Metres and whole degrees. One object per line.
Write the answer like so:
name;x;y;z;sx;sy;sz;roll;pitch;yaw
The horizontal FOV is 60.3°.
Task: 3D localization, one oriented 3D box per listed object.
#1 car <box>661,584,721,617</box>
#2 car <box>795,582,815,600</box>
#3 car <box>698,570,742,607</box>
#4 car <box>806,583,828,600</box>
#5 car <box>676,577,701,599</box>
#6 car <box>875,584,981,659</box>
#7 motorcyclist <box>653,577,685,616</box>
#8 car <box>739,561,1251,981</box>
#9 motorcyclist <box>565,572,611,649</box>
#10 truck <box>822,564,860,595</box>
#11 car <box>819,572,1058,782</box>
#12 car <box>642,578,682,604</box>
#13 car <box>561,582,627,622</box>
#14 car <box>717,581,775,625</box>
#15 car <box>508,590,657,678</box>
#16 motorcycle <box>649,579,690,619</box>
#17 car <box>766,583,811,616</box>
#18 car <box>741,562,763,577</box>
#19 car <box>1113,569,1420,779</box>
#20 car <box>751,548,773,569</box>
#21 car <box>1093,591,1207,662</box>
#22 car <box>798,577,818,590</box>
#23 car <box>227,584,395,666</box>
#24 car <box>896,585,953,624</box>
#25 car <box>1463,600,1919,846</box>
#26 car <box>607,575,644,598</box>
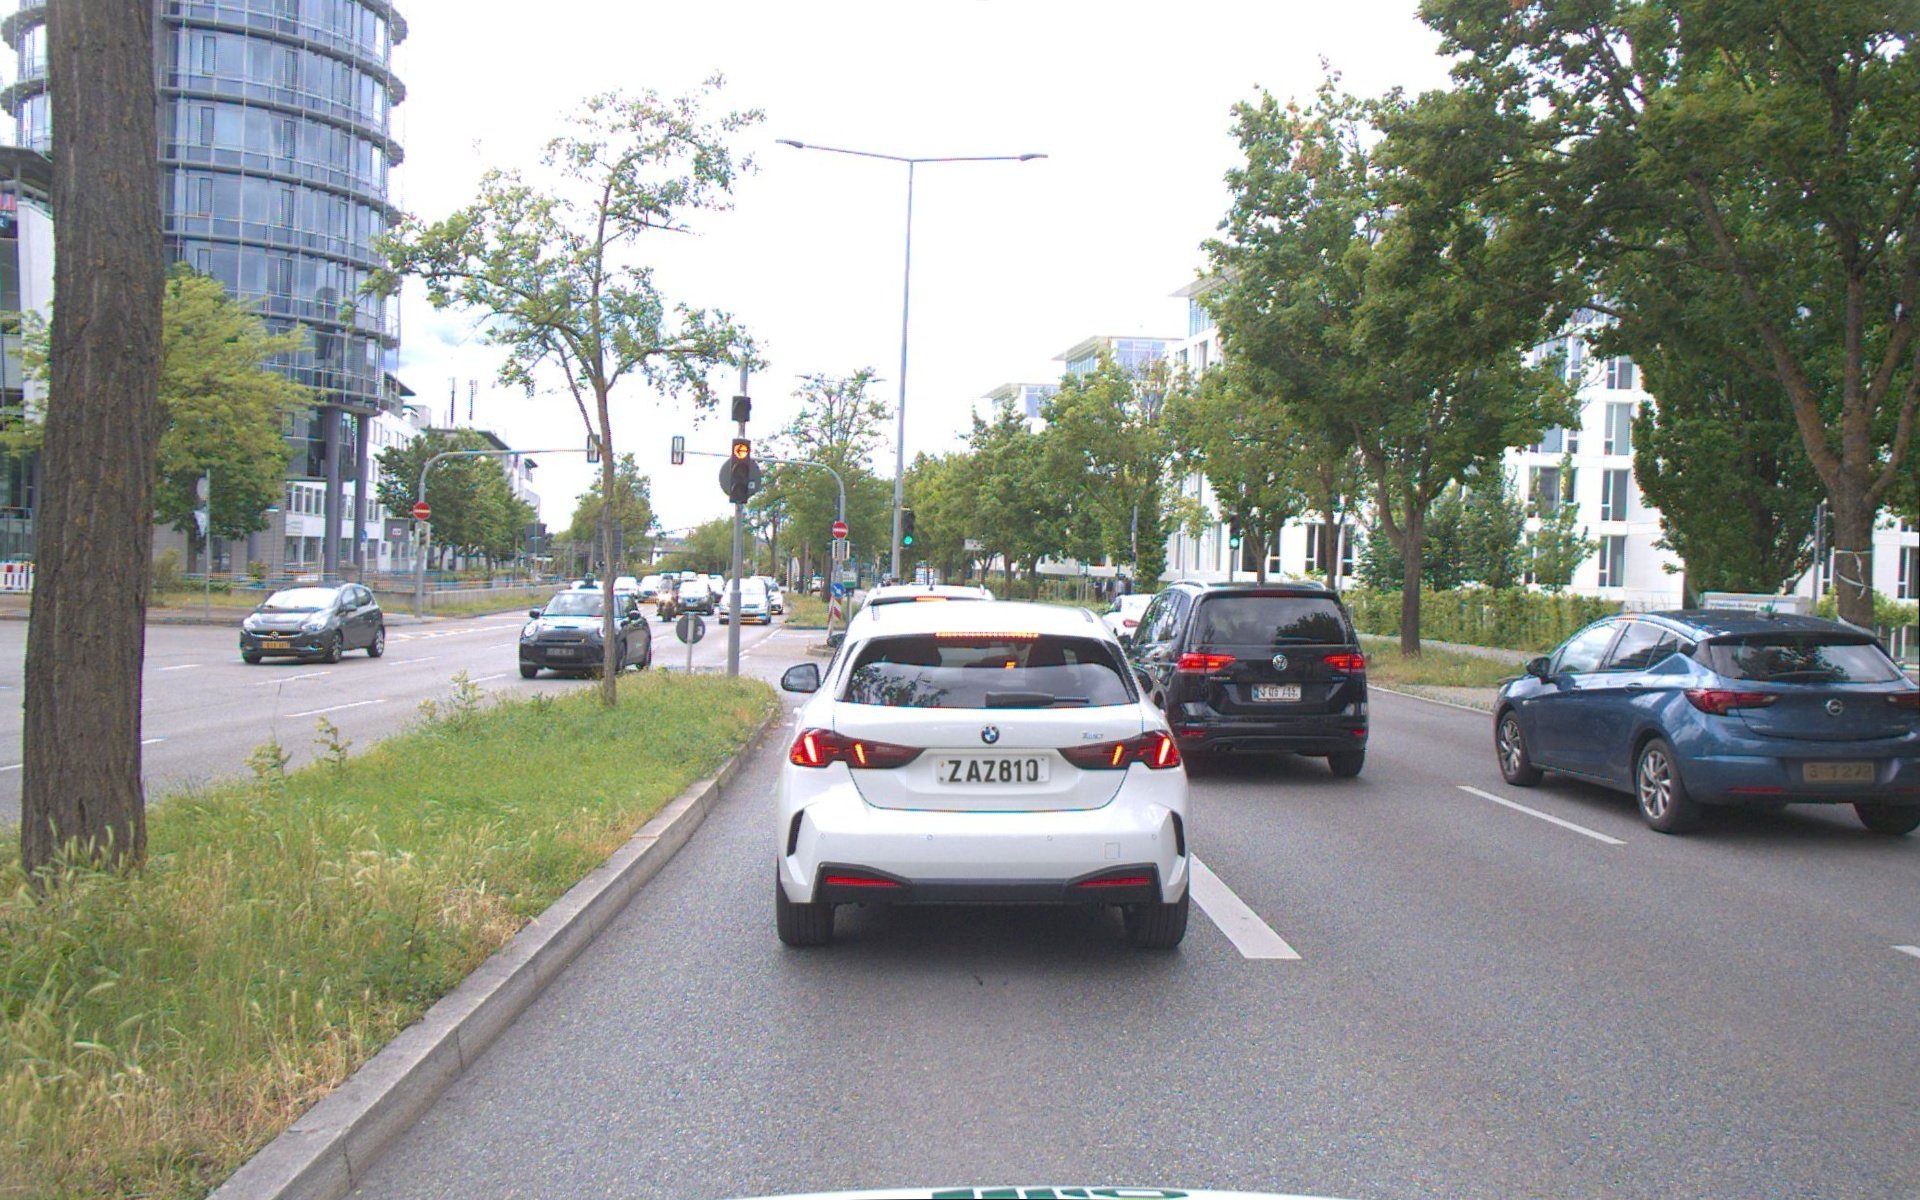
car;-11.704;0.009;72.171;1.953;1.378;3.999;1;0;-1
car;-17.938;-1.031;191.916;1.953;2.049;3.999;1;0;-1
car;-13.591;-0.647;93.885;1.953;2.049;3.999;1;0;-2
car;-14.203;-0.853;164.075;1.956;1.534;3.993;1;0;-8
car;-26.809;-1.171;163.685;1.954;2.046;4.321;1;0;-4
car;-0.655;0.463;37.152;1.951;1.534;4.002;1;0;5
motorcyclist;-10.831;-0.127;61.675;0.891;1.416;1.673;1;0;-1
car;0.181;0.627;8.014;1.824;1.474;4.001;2;0;2
motorcyclist;-9.323;0.261;41.460;0.831;1.869;1.259;1;0;-1
truck;-10.608;-1.811;147.277;2.806;2.563;6.275;2;0;-9
car;-0.178;0.648;15.825;1.953;1.701;4.000;2;0;0
car;-17.374;-0.537;96.605;1.673;1.443;3.802;0;0;-1
car;-13.742;0.050;62.330;1.673;1.443;3.802;0;0;-1
car;-7.775;0.103;60.351;1.673;1.523;3.802;0;0;-1
car;-6.373;0.536;28.280;1.718;1.395;3.779;0;0;-1
motorcycle;-10.834;-0.040;61.816;0.871;1.422;3.999;1;0;-1
car;-7.803;-0.028;75.506;1.633;1.429;3.999;1;0;-1
car;-23.995;-3.500;190.969;1.953;1.646;3.999;3;0;-1
car;2.651;0.579;15.352;1.927;1.669;4.311;0;0;-2
car;-20.840;-4.357;173.902;1.954;2.045;4.321;3;0;-4
car;4.349;0.577;38.581;1.758;1.498;4.695;2;0;-4
car;-17.737;-1.935;192.817;1.957;1.534;3.991;1;0;-9
car;-12.283;0.440;31.550;1.673;1.443;4.018;0;0;-1
car;-1.552;0.171;70.990;2.013;1.512;4.967;-2;1;-6
car;5.439;0.756;12.383;1.927;1.464;4.311;-1;0;-2
car;-22.074;-0.886;109.282;1.673;1.443;3.802;0;0;-1
